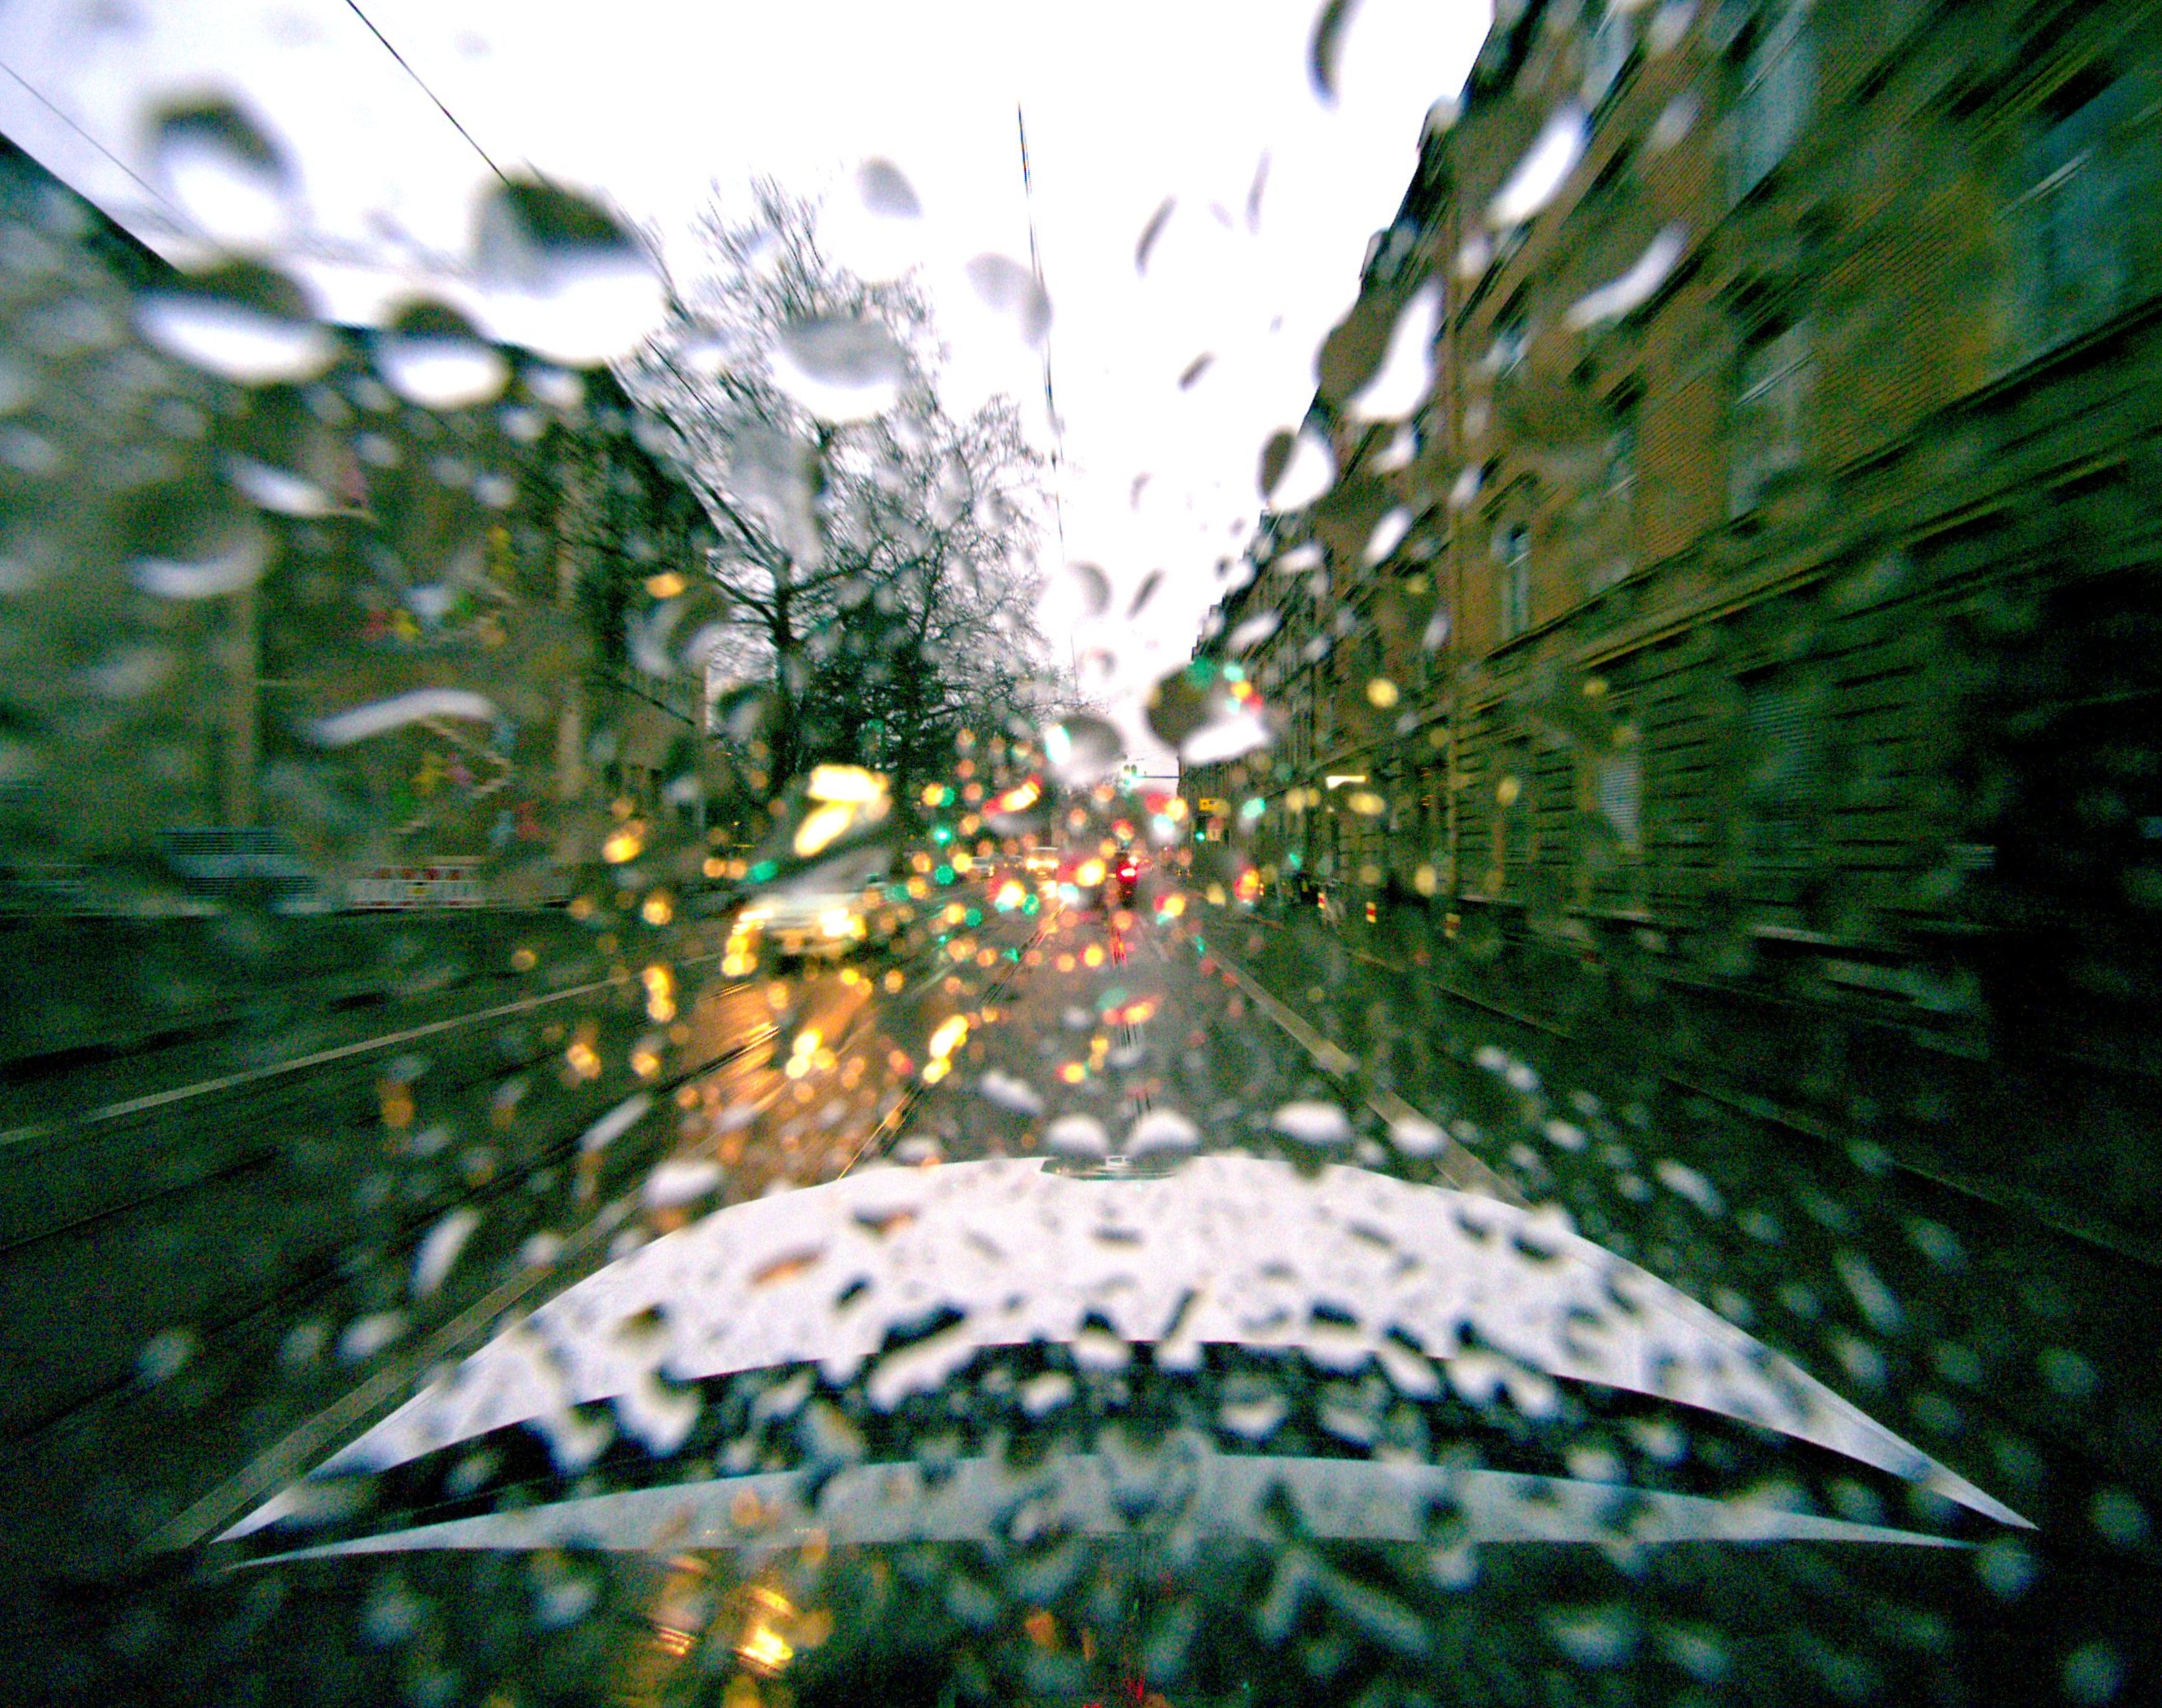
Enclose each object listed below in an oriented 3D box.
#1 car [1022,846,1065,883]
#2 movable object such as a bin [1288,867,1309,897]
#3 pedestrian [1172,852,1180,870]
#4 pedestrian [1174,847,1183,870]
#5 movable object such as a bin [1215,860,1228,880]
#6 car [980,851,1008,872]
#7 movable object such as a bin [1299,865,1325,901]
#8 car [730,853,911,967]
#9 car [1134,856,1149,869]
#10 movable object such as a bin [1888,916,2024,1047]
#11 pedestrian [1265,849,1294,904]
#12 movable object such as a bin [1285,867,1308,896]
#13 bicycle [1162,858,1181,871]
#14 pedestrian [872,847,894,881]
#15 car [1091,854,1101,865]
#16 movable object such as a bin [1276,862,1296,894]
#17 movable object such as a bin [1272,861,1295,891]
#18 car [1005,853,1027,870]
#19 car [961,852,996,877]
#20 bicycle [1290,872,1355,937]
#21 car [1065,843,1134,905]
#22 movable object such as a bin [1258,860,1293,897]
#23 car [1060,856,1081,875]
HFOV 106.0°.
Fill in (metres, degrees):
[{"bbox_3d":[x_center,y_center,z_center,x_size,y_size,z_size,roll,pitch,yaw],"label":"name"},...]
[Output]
[{"bbox_3d":[-2.524,0.695,56.285,2.437,2.347,5.847,-1,-1,2],"label":"car"},{"bbox_3d":[6.897,0.881,25.855,0.490,0.929,0.422,-1,0,-25],"label":"movable object such as a bin"},{"bbox_3d":[9.614,0.684,82.151,0.769,1.775,0.685,0,-1,1],"label":"pedestrian"},{"bbox_3d":[8.324,0.391,69.473,0.713,1.953,0.657,0,-1,2],"label":"pedestrian"},{"bbox_3d":[7.682,0.878,44.608,0.638,1.055,0.744,0,-1,1],"label":"movable object such as a bin"},{"bbox_3d":[-7.029,0.611,66.055,1.979,1.615,4.425,0,-1,-3],"label":"car"},{"bbox_3d":[7.176,0.900,25.294,0.614,1.080,0.487,-1,0,-27],"label":"movable object such as a bin"},{"bbox_3d":[-3.812,0.742,12.536,1.524,1.481,3.562,-1,0,2],"label":"car"},{"bbox_3d":[8.351,1.151,112.084,1.984,1.842,4.004,0,0,4],"label":"car"},{"bbox_3d":[6.732,0.963,6.286,0.505,0.931,0.507,0,0,0],"label":"movable object such as a bin"},{"bbox_3d":[6.180,0.687,25.378,0.829,1.701,0.956,0,-1,10],"label":"pedestrian"},{"bbox_3d":[7.000,0.888,26.414,0.609,0.929,0.491,-1,0,0],"label":"movable object such as a bin"},{"bbox_3d":[7.682,0.893,69.271,0.795,1.144,2.230,0,-1,-17],"label":"bicycle"},{"bbox_3d":[-10.626,0.526,43.744,0.816,1.815,1.011,0,-1,6],"label":"pedestrian"},{"bbox_3d":[2.944,1.051,157.209,1.986,2.014,4.001,0,-1,2],"label":"car"},{"bbox_3d":[7.089,0.828,28.145,0.606,1.082,0.602,-1,0,16],"label":"movable object such as a bin"},{"bbox_3d":[7.172,0.762,28.808,0.759,1.038,0.602,-1,0,16],"label":"movable object such as a bin"},{"bbox_3d":[-6.163,0.716,77.697,1.979,1.615,4.425,0,-1,-3],"label":"car"},{"bbox_3d":[-6.967,0.721,55.630,1.979,1.615,4.425,0,-1,-3],"label":"car"},{"bbox_3d":[4.696,0.942,15.977,0.681,1.156,2.189,0,-1,2],"label":"bicycle"},{"bbox_3d":[0.674,0.602,26.013,1.984,1.842,4.005,0,0,4],"label":"car"},{"bbox_3d":[7.118,0.878,29.857,0.886,1.288,1.260,-1,0,-5],"label":"movable object such as a bin"},{"bbox_3d":[-1.131,1.278,88.179,1.985,2.014,4.004,0,-1,4],"label":"car"}]
